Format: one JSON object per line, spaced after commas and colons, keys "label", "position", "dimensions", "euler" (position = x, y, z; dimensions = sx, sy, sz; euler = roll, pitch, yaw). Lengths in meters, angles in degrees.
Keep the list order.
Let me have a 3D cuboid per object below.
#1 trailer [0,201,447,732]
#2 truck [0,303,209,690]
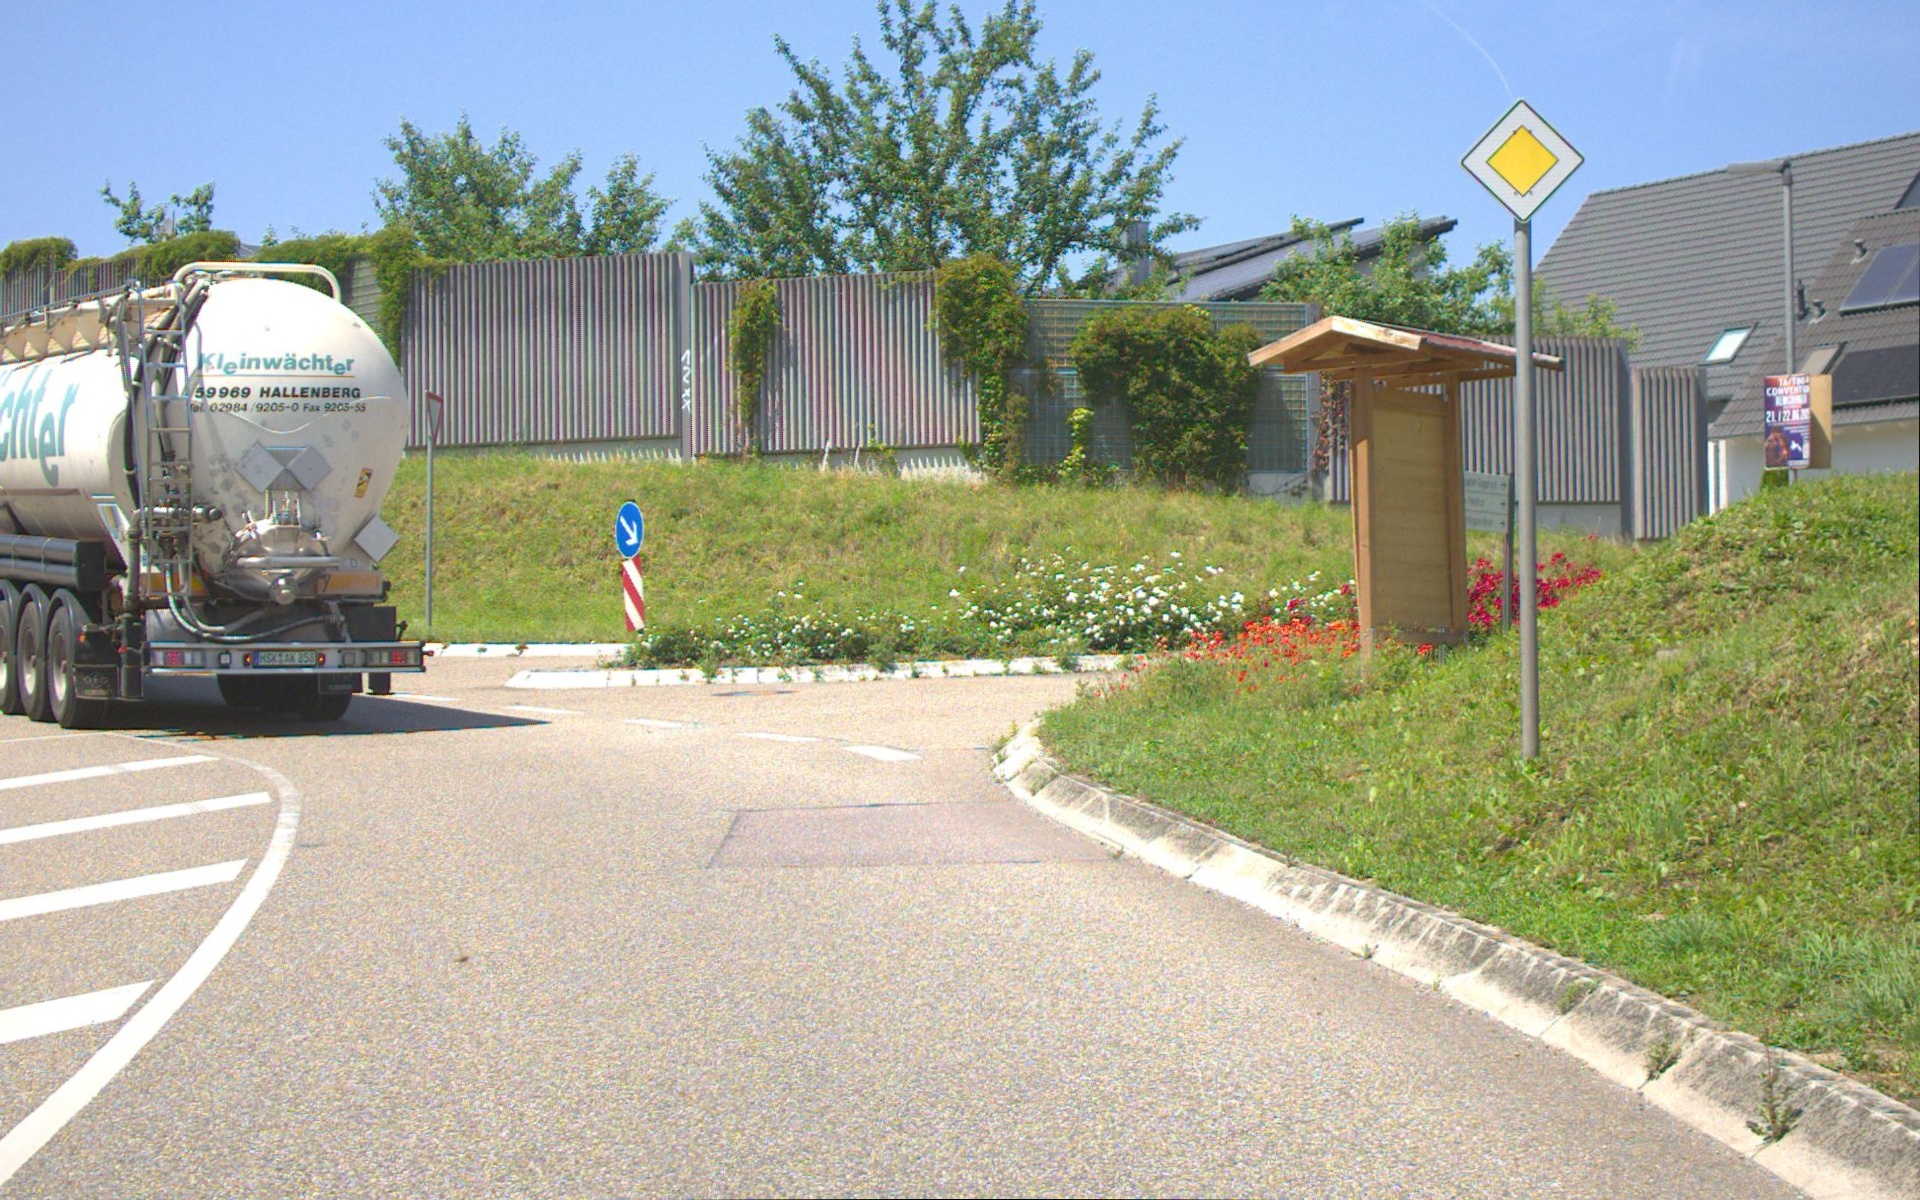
{"label": "trailer", "position": [-8.046, -1.188, 32.948], "dimensions": [2.661, 4.174, 11.906], "euler": [-1, 2, -26]}
{"label": "truck", "position": [-10.795, -1.099, 38.317], "dimensions": [2.727, 3.916, 7.264], "euler": [-1, 1, -29]}
